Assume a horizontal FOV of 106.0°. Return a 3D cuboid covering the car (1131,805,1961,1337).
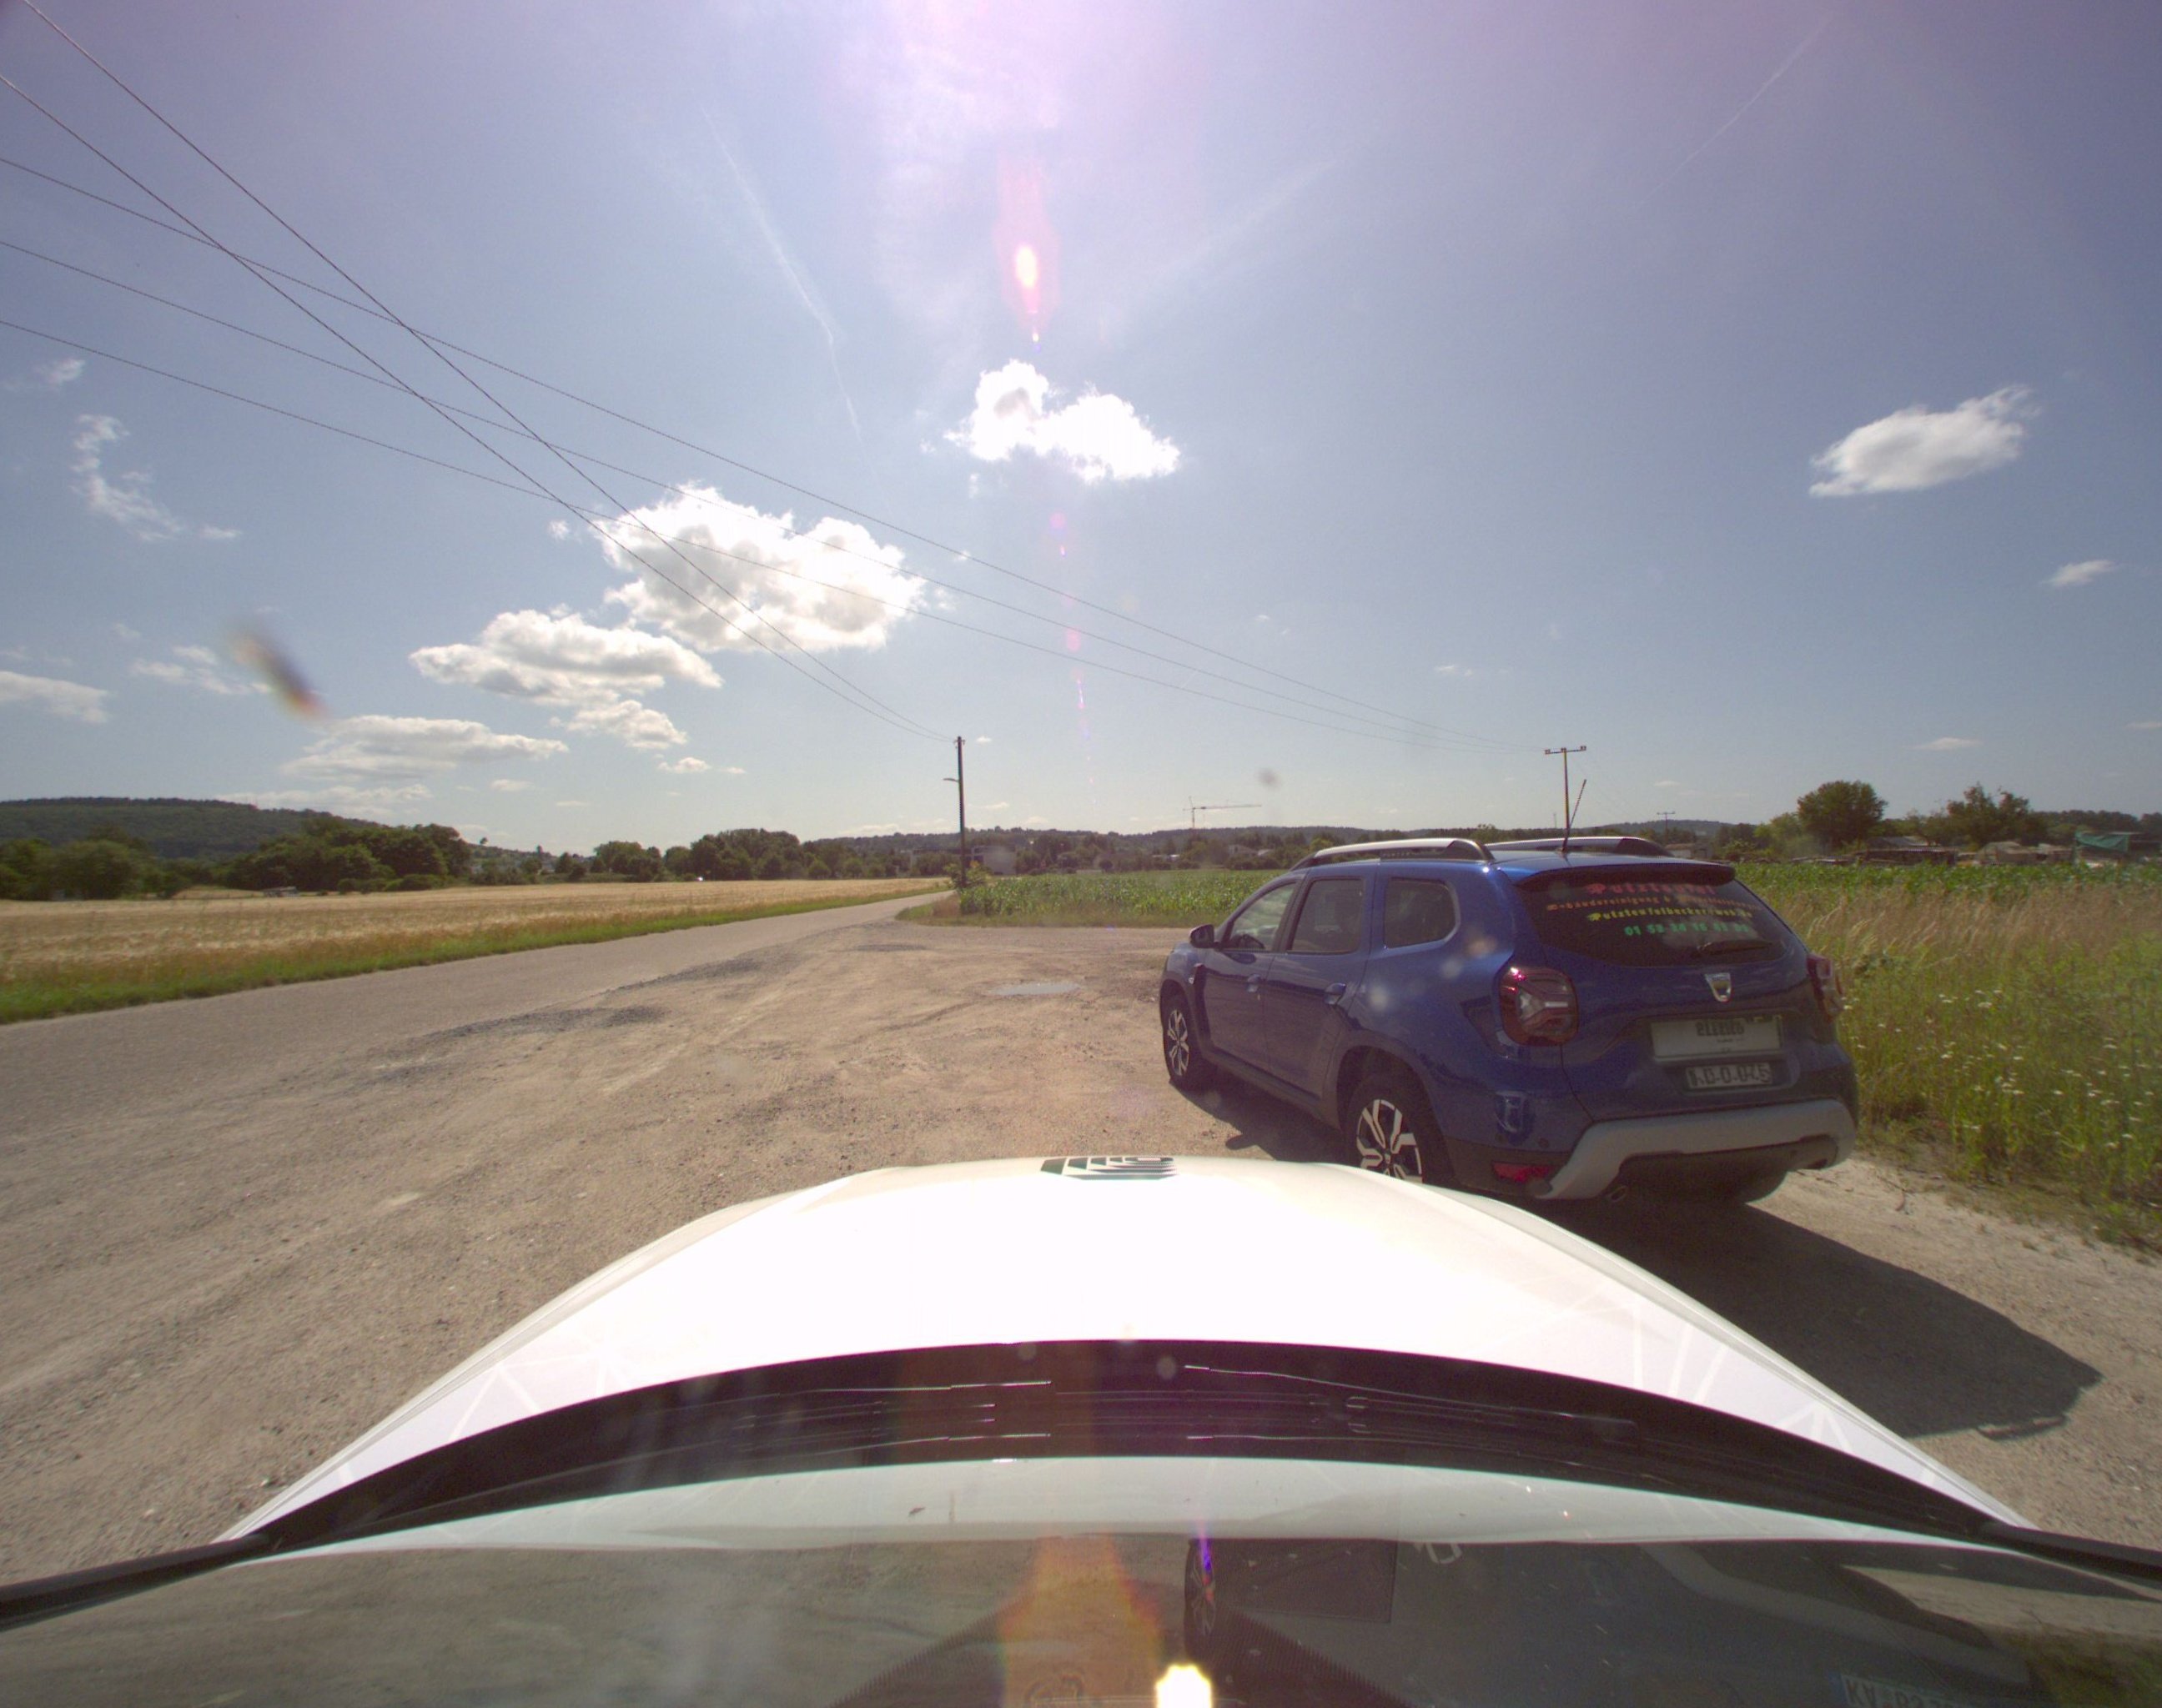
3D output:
[{"bbox_3d":[1.817,0.753,4.951,1.860,1.661,4.438,0,-2,-13],"label":"car"}]
